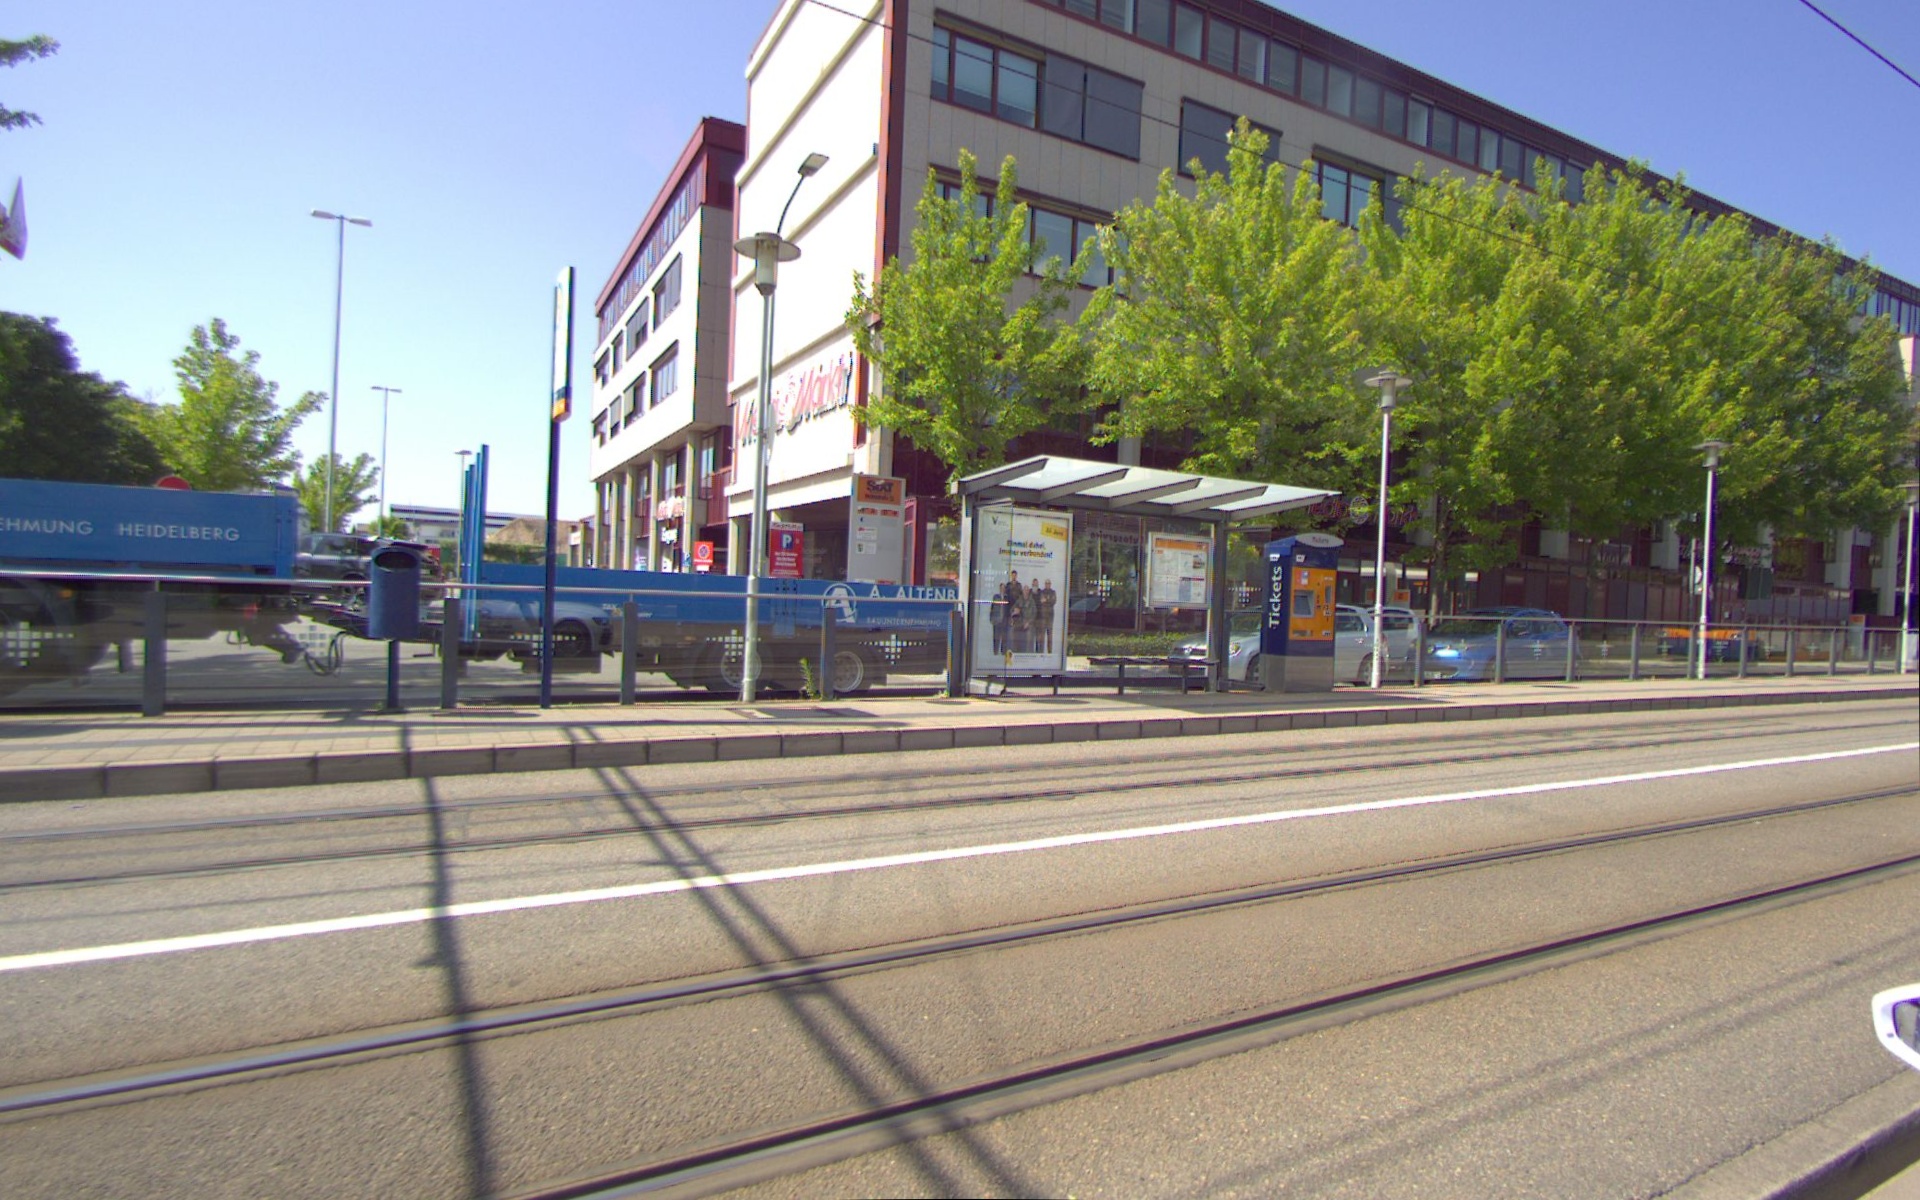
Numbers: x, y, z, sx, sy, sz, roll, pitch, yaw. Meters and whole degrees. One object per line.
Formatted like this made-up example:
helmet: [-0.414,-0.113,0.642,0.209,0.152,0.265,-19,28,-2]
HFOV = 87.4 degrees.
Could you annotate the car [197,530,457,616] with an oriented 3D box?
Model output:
car: [-15.213,-0.625,24.281,5.012,1.615,2.189,4,-1,9]

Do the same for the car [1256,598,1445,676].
car: [8.527,0.784,21.895,3.855,1.483,1.715,1,2,-28]

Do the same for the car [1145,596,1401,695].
car: [5.303,0.734,16.885,4.229,1.492,1.714,2,-1,-30]

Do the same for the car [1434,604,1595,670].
car: [14.290,0.941,25.862,3.950,1.539,1.753,2,1,-28]

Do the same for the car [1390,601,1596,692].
car: [10.388,0.893,19.526,4.023,1.605,1.715,2,-2,-30]

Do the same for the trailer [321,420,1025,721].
trailer: [-3.111,-0.210,12.041,7.513,2.663,2.782,1,1,-31]

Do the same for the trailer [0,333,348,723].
trailer: [-9.171,-0.607,8.366,6.817,3.017,2.730,1,1,-30]
